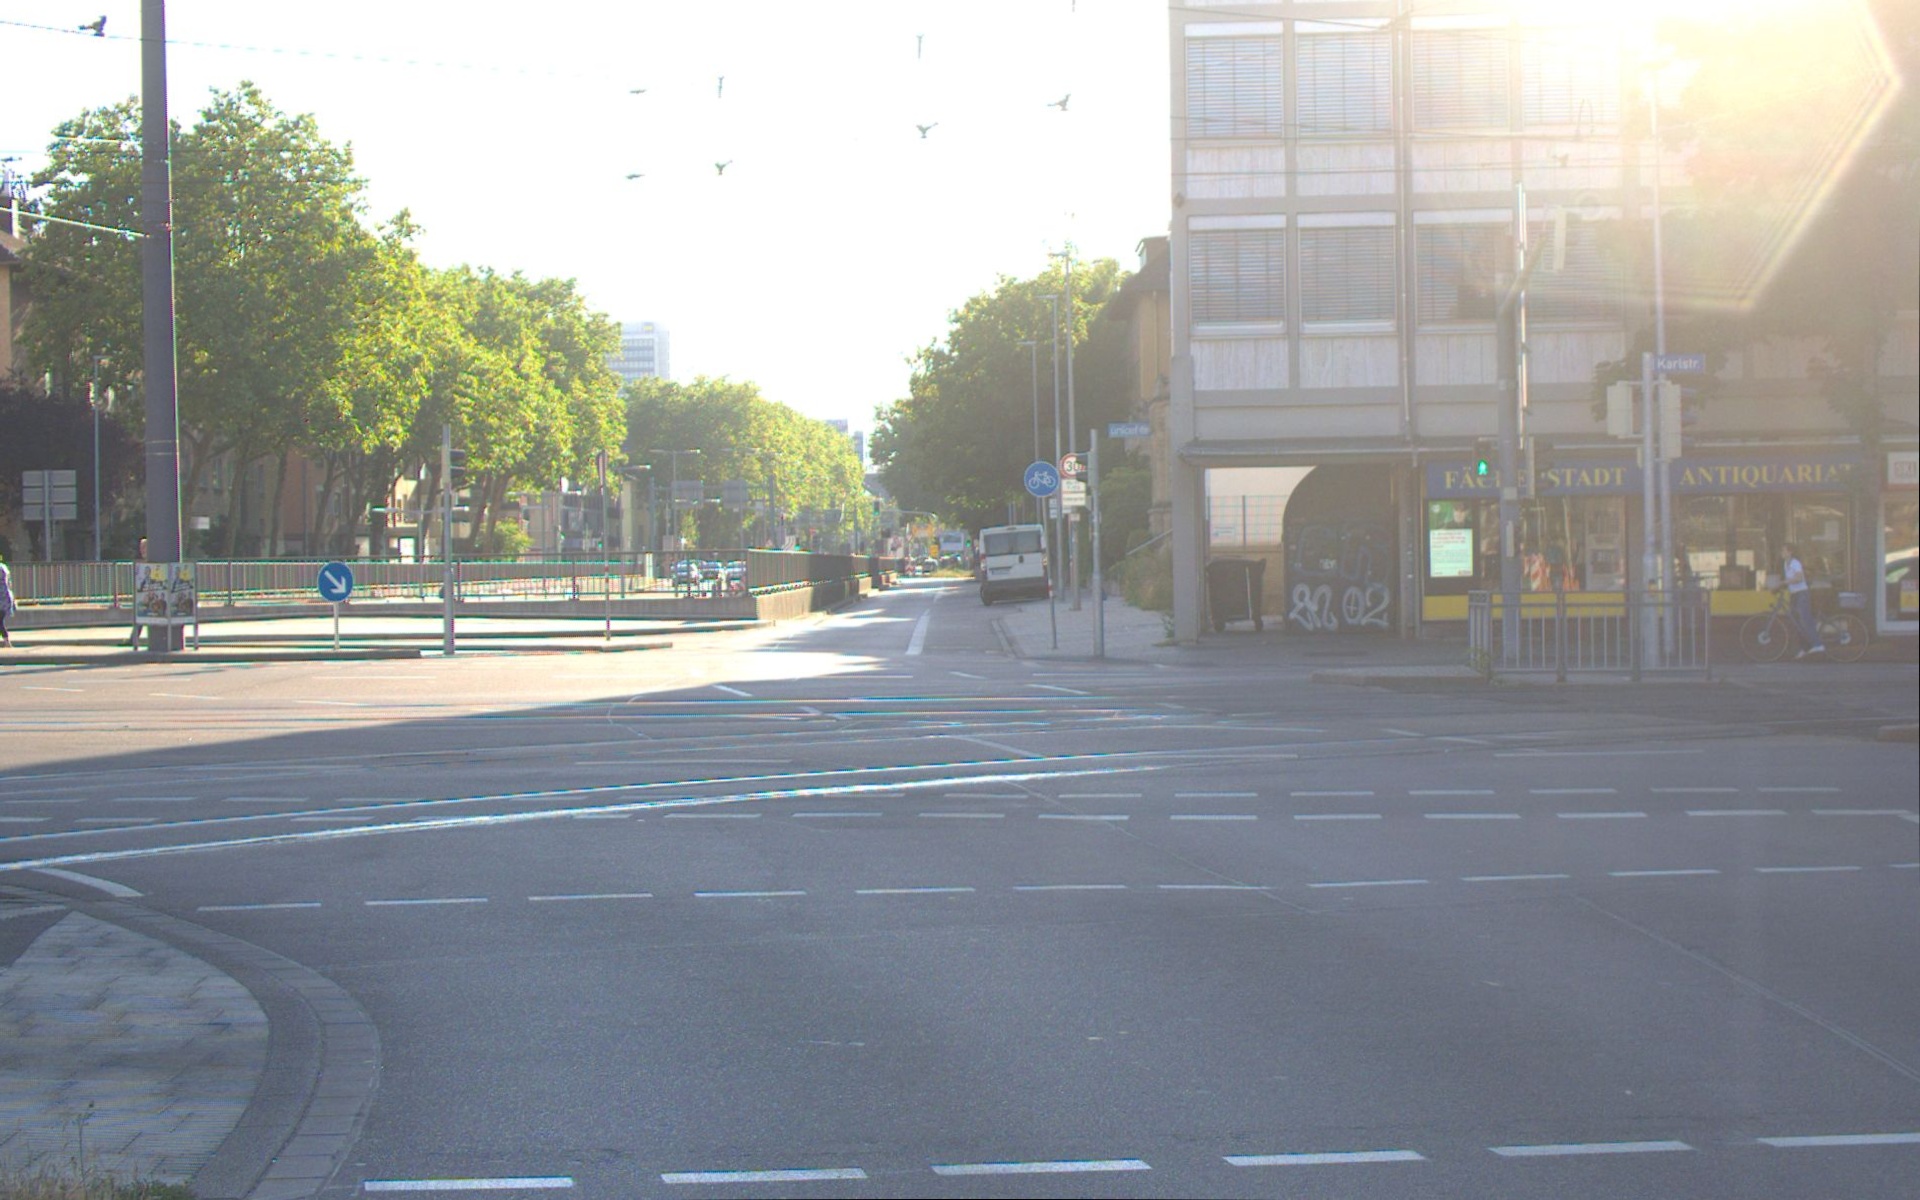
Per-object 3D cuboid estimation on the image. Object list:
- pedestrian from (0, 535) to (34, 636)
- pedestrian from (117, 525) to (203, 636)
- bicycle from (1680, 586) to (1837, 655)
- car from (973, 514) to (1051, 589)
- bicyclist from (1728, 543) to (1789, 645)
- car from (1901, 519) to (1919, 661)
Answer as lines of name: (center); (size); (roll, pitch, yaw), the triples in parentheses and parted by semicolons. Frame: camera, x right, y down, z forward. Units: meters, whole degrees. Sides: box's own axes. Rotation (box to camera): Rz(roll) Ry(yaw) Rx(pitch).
pedestrian: (-14.460, -0.214, 51.745); (0.853, 1.460, 0.686); (1, -5, -29)
pedestrian: (-12.635, -0.312, 54.344); (1.194, 1.725, 0.856); (1, 0, -5)
bicycle: (11.199, 0.285, 48.237); (2.024, 0.937, 0.671); (1, 0, -1)
car: (1.599, -1.461, 103.916); (2.286, 2.165, 4.833); (1, 1, 1)
bicyclist: (11.199, -0.085, 48.228); (0.679, 1.419, 0.671); (1, 0, -1)
car: (12.908, -0.090, 39.050); (3.987, 1.612, 1.844); (1, 0, 5)
